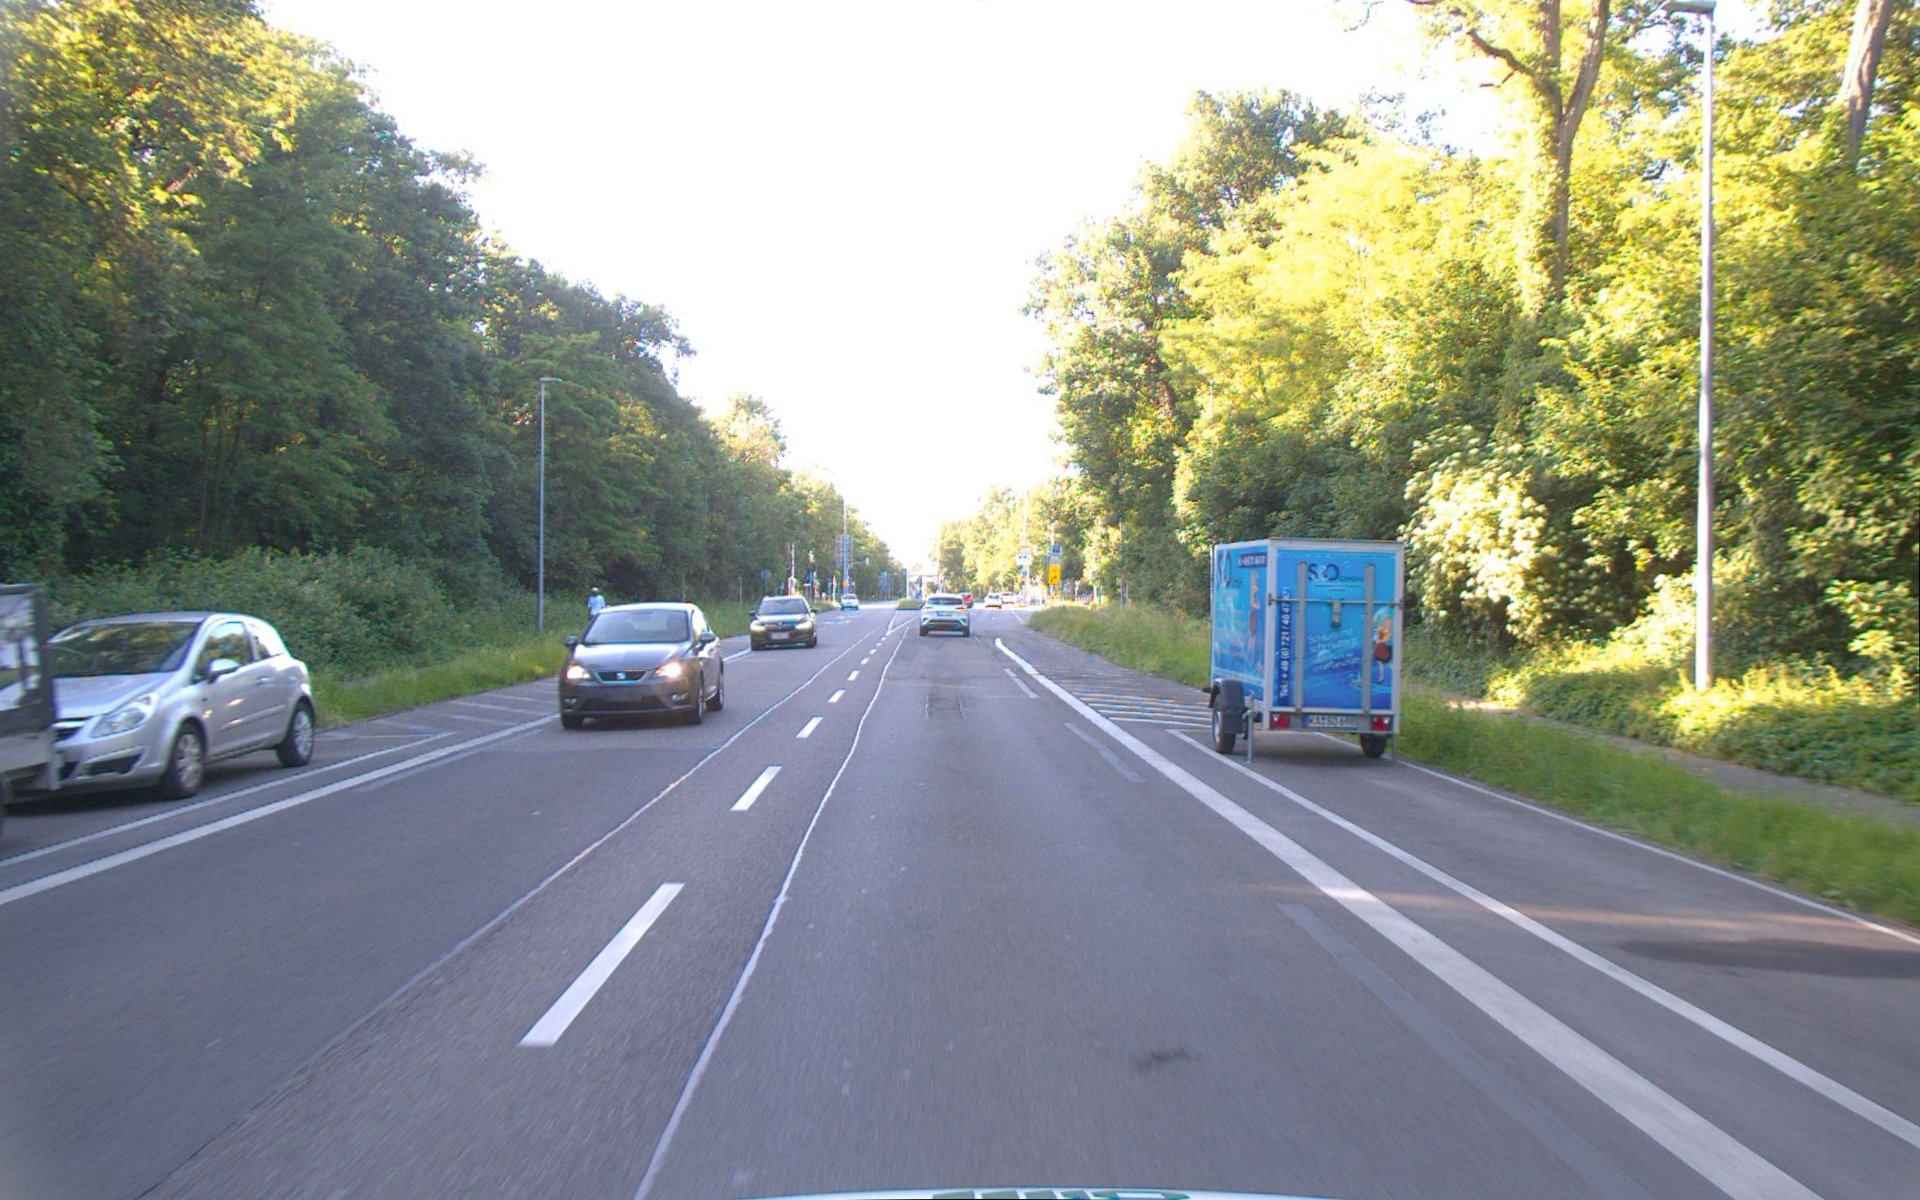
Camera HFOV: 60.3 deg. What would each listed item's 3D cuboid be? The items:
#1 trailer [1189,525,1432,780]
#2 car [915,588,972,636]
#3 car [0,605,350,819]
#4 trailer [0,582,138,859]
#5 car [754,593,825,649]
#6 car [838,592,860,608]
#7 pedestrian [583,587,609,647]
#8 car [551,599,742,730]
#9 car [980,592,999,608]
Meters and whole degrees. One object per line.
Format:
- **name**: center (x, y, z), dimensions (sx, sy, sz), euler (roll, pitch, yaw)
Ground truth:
- **trailer**: center (3.488, 0.463, 17.241), dimensions (1.469, 2.274, 4.549), euler (1, 0, -1)
- **car**: center (-0.623, 0.410, 59.898), dimensions (1.953, 1.668, 3.999), euler (0, 0, -1)
- **car**: center (-7.002, 0.863, 14.377), dimensions (1.830, 1.489, 4.132), euler (-3, 0, -1)
- **trailer**: center (-6.666, 0.762, 9.775), dimensions (1.439, 1.688, 3.368), euler (-2, 0, 11)
- **car**: center (-4.941, 0.577, 48.387), dimensions (1.644, 1.516, 4.689), euler (-1, 0, -1)
- **car**: center (-10.777, 0.025, 160.577), dimensions (1.953, 1.489, 3.999), euler (1, 0, -1)
- **pedestrian**: center (-12.666, 0.575, 57.549), dimensions (0.679, 2.049, 0.712), euler (1, 0, -1)
- **car**: center (-3.785, 0.720, 20.566), dimensions (1.644, 1.440, 3.999), euler (-1, 0, -1)
- **car**: center (3.095, 0.030, 174.698), dimensions (1.953, 1.646, 4.000), euler (1, 0, 0)
